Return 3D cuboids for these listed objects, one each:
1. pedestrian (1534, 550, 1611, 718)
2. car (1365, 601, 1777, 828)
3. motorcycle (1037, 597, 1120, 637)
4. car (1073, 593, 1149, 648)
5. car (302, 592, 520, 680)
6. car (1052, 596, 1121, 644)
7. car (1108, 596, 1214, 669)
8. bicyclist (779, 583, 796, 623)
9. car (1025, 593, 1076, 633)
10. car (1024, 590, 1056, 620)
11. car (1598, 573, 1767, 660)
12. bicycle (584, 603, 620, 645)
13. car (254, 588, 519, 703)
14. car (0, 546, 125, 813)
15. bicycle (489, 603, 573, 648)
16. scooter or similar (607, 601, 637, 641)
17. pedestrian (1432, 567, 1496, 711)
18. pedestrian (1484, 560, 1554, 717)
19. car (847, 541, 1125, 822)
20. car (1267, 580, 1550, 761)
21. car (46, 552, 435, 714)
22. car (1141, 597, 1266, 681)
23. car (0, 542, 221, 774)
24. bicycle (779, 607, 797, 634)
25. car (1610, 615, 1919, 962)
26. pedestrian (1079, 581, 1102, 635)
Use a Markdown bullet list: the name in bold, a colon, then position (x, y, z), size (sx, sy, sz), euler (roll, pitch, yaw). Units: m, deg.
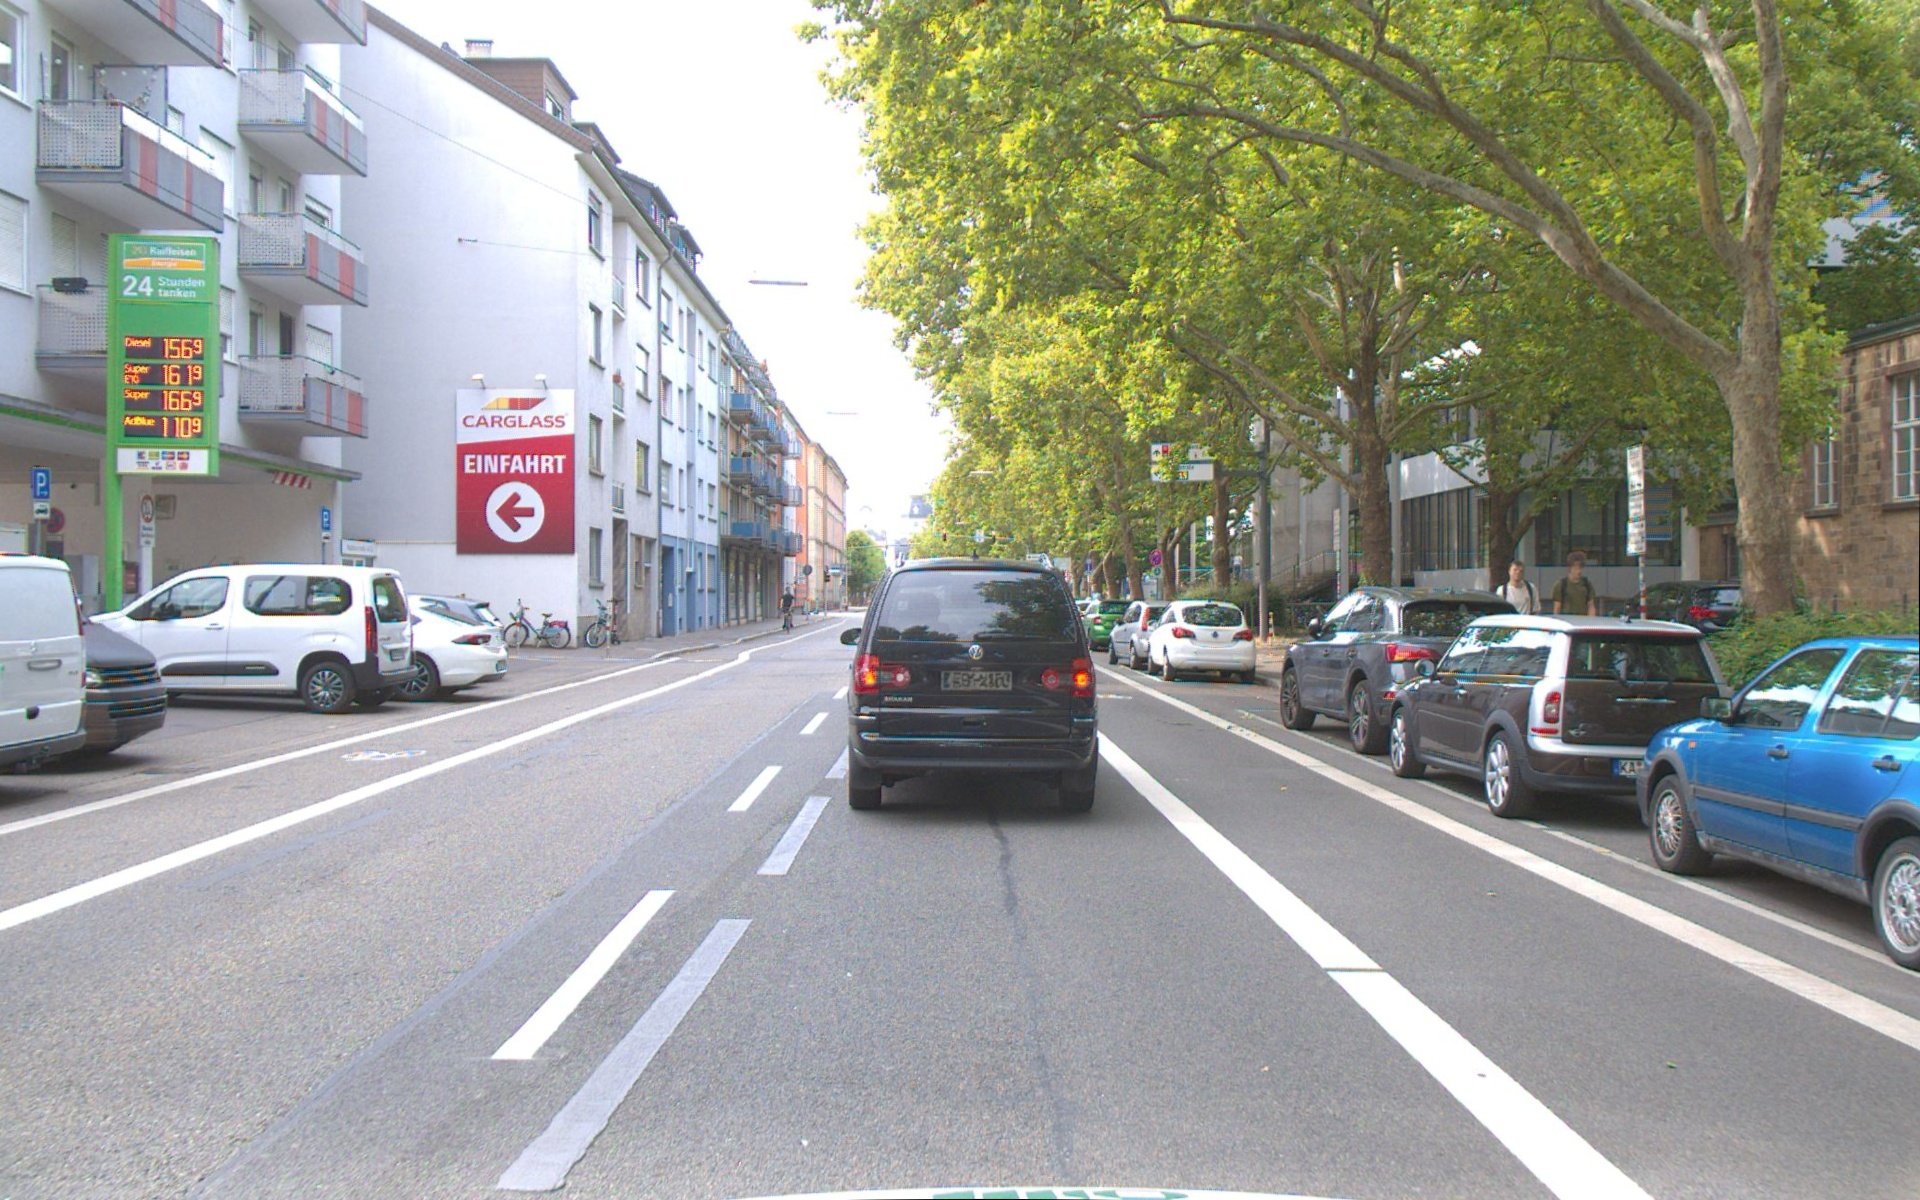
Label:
- **pedestrian**: position (7.491, 0.403, 20.237), size (0.629, 2.009, 0.692), euler (1, 1, 0)
- **car**: position (4.627, 0.770, 13.241), size (1.597, 1.495, 4.316), euler (0, 0, -2)
- **motorcycle**: position (4.032, 0.586, 56.384), size (2.780, 1.348, 0.765), euler (0, 0, -1)
- **car**: position (4.299, 0.565, 47.521), size (1.609, 1.438, 3.413), euler (2, 0, -5)
- **car**: position (-9.531, 0.615, 28.890), size (3.276, 1.426, 1.503), euler (2, 0, -3)
- **car**: position (3.997, 0.617, 52.723), size (1.609, 1.419, 3.509), euler (2, 0, -5)
- **car**: position (4.332, 0.671, 36.099), size (1.609, 1.438, 3.413), euler (2, 0, -5)
- **bicyclist**: position (-7.149, 0.123, 68.536), size (0.640, 1.639, 0.655), euler (1, -2, -4)
- **car**: position (3.663, 0.505, 67.570), size (1.609, 1.513, 3.509), euler (2, 0, -5)
- **car**: position (4.917, 0.270, 102.528), size (1.751, 1.803, 4.000), euler (0, 0, -1)
- **car**: position (13.792, 0.270, 31.795), size (1.442, 1.484, 3.917), euler (1, 2, -1)
- **bicycle**: position (-9.252, 0.614, 42.790), size (0.618, 1.052, 2.013), euler (1, 0, -4)
- **car**: position (-8.254, 0.642, 24.013), size (3.276, 1.523, 1.595), euler (2, 0, -3)
- **car**: position (-9.057, 0.490, 12.445), size (4.434, 1.911, 2.047), euler (2, 0, 0)
- **bicycle**: position (-10.662, 0.627, 41.126), size (1.967, 1.052, 0.410), euler (1, 1, 0)
- **scooter or similar**: position (-9.308, 0.595, 45.539), size (0.619, 1.052, 2.012), euler (1, -2, -7)
- **pedestrian**: position (6.189, 0.469, 20.330), size (0.575, 1.731, 0.508), euler (1, 1, 0)
- **pedestrian**: position (6.832, 0.456, 20.246), size (0.575, 1.870, 0.692), euler (1, 1, 0)
- **car**: position (0.052, 0.525, 12.495), size (1.776, 1.797, 3.735), euler (1, 0, -4)
- **car**: position (4.708, 0.657, 18.060), size (1.635, 1.669, 4.501), euler (2, 0, -3)
- **car**: position (-9.293, 0.417, 21.630), size (4.221, 1.902, 1.823), euler (2, 0, -3)
- **car**: position (4.565, 0.685, 31.569), size (1.641, 1.418, 4.460), euler (2, 0, -1)
- **car**: position (-9.602, 0.412, 15.006), size (4.817, 1.936, 1.999), euler (2, 0, -2)
- **bicycle**: position (-7.085, 0.858, 68.244), size (0.618, 1.052, 2.013), euler (1, -2, -3)
- **car**: position (4.875, 0.848, 8.348), size (1.588, 1.410, 4.000), euler (3, 0, 0)
- **pedestrian**: position (4.535, 0.277, 57.604), size (0.751, 1.863, 0.516), euler (0, 0, 0)
